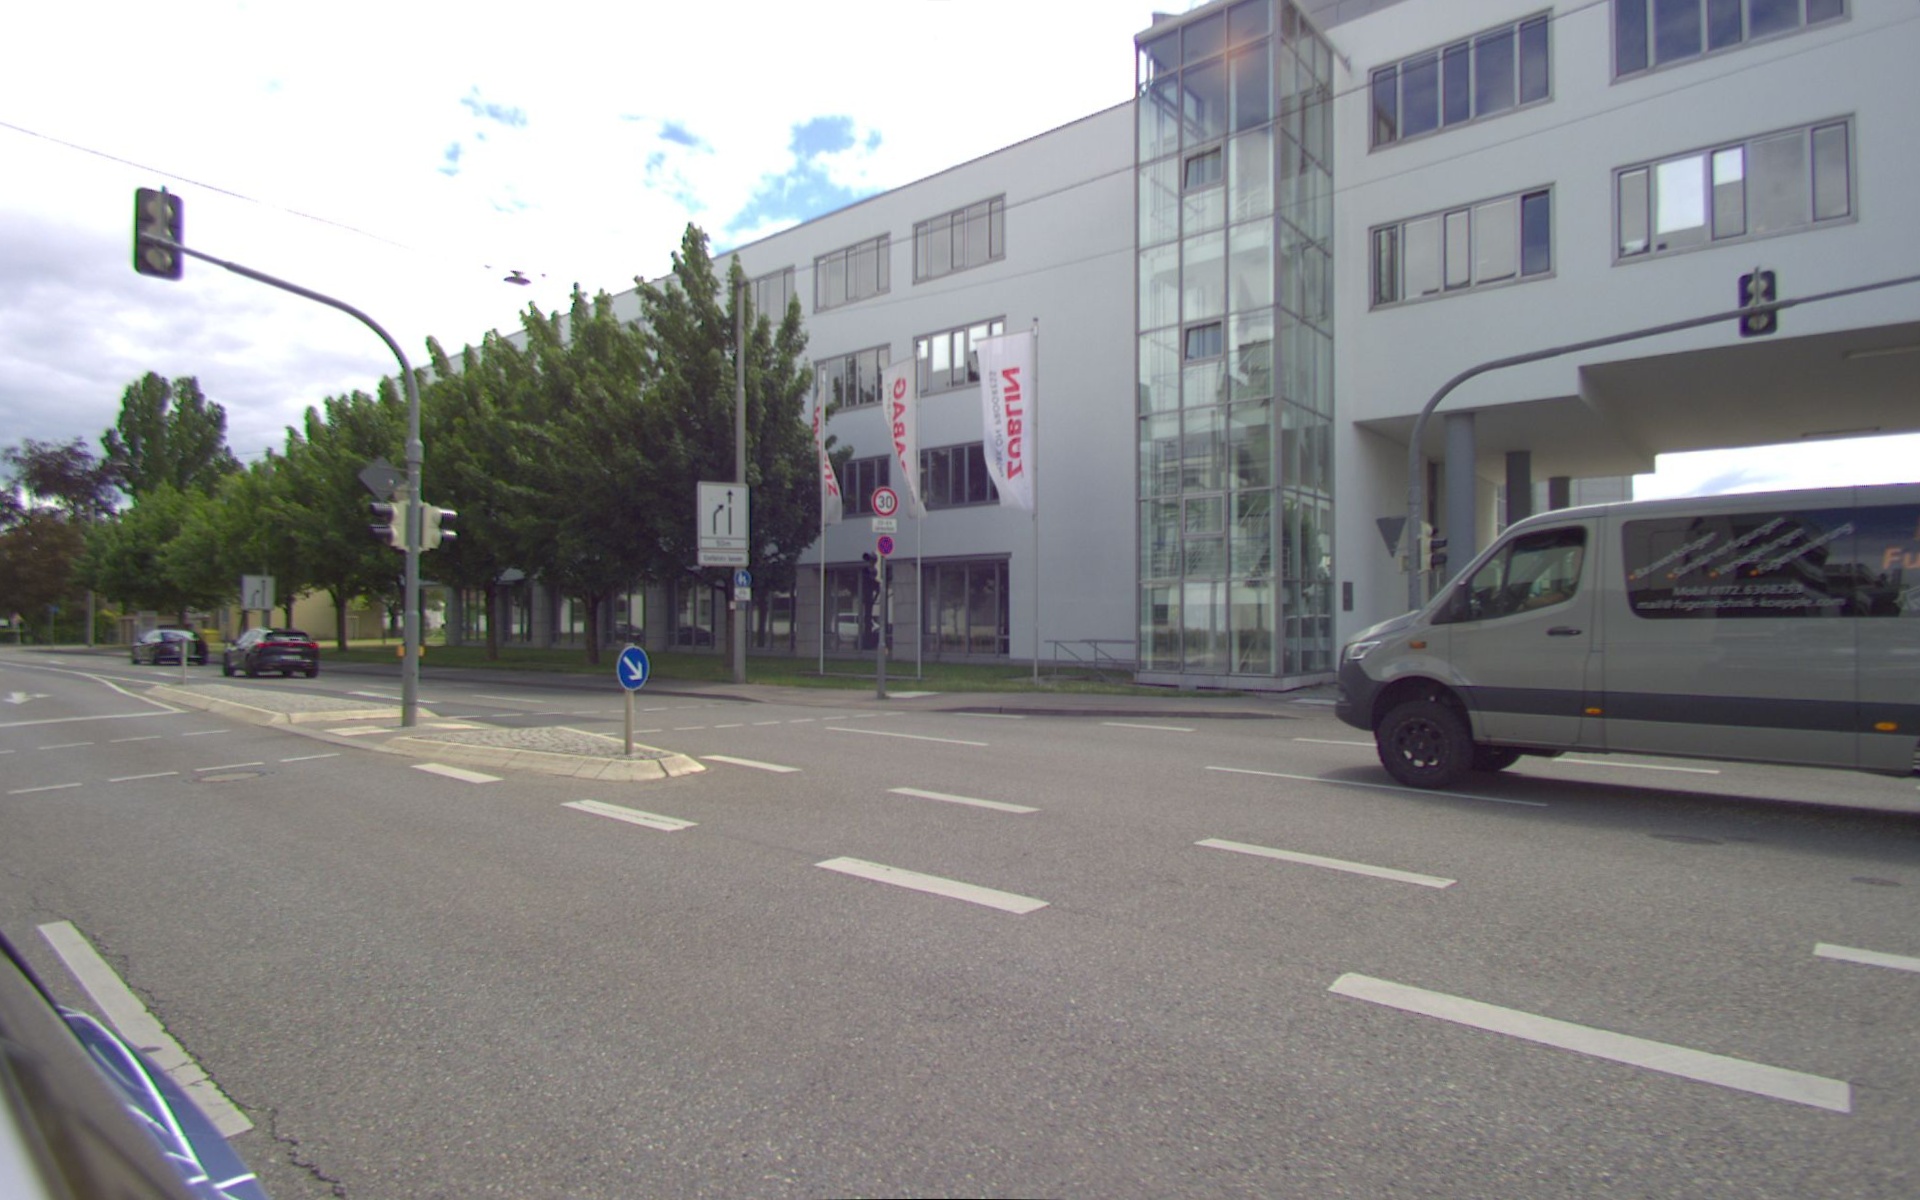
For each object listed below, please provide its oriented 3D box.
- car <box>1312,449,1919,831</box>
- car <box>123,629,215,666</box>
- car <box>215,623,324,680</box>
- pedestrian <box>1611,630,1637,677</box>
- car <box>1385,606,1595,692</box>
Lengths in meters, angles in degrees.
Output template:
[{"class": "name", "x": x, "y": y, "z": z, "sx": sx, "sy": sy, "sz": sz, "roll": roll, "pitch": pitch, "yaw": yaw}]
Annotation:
[{"class": "car", "x": 6.210, "y": 0.315, "z": 8.166, "sx": 6.075, "sy": 2.490, "sz": 2.118, "roll": -1, "pitch": -3, "yaw": 45}, {"class": "car", "x": -33.779, "y": 1.999, "z": 43.181, "sx": 5.045, "sy": 1.456, "sz": 2.004, "roll": -1, "pitch": -3, "yaw": 39}, {"class": "car", "x": -21.420, "y": 1.539, "z": 31.315, "sx": 4.541, "sy": 1.564, "sz": 1.864, "roll": 0, "pitch": -2, "yaw": 44}, {"class": "pedestrian", "x": 26.395, "y": 2.100, "z": 40.232, "sx": 0.815, "sy": 1.796, "sz": 0.692, "roll": -1, "pitch": 1, "yaw": 36}, {"class": "car", "x": 13.019, "y": 1.211, "z": 24.860, "sx": 4.751, "sy": 1.882, "sz": 2.091, "roll": 3, "pitch": -1, "yaw": -26}]
